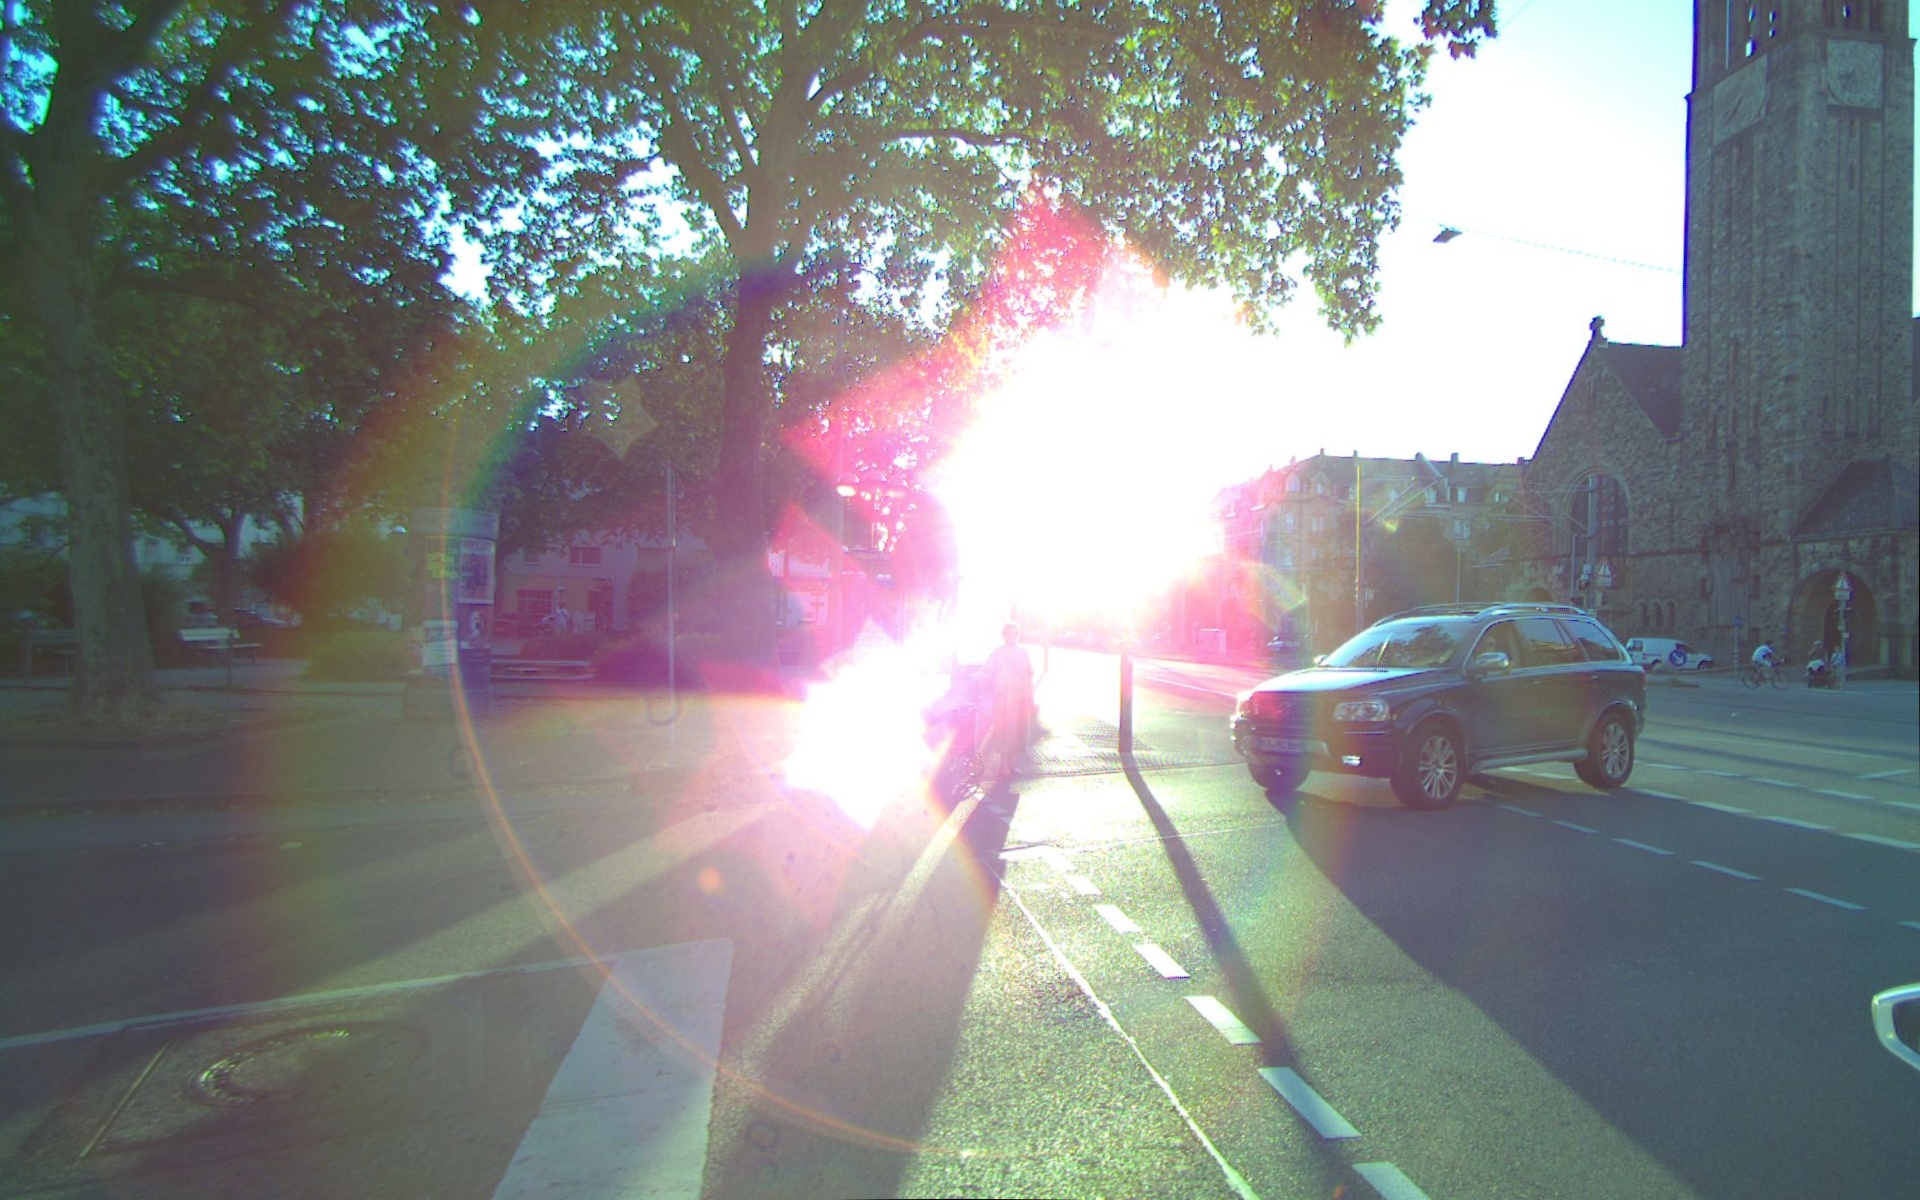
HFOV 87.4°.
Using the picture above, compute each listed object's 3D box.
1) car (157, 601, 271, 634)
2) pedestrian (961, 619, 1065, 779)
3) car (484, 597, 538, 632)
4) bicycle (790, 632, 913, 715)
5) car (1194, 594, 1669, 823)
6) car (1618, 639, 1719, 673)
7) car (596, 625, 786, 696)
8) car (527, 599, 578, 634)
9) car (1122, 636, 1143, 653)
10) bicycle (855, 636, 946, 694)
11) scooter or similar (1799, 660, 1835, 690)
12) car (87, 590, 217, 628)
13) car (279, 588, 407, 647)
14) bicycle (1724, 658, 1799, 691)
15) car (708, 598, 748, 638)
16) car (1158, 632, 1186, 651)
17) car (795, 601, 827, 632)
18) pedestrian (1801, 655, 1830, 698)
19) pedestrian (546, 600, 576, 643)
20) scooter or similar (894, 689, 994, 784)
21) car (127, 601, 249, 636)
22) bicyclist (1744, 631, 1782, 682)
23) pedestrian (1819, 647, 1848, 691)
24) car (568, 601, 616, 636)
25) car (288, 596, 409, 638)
[{"bbox_3d":[-40.611,0.996,54.851,4.571,1.758,1.991,1,-2,-21],"label":"car"},{"bbox_3d":[0.577,1.061,11.035,0.766,1.649,0.797,3,-1,-34],"label":"pedestrian"},{"bbox_3d":[-28.293,0.929,63.452,1.963,2.040,3.995,3,-1,-7],"label":"car"},{"bbox_3d":[-1.843,1.258,17.180,1.967,1.344,0.524,3,-1,-25],"label":"bicycle"},{"bbox_3d":[4.778,0.927,9.990,4.742,1.808,1.984,2,-1,-31],"label":"car"},{"bbox_3d":[38.281,3.014,54.298,4.371,1.537,1.718,3,-1,-5],"label":"car"},{"bbox_3d":[-7.037,1.569,26.699,4.552,1.805,1.999,0,-2,-4],"label":"car"},{"bbox_3d":[-25.841,1.050,63.825,1.963,2.040,3.995,3,-1,-7],"label":"car"},{"bbox_3d":[23.366,5.987,136.148,1.961,2.040,3.999,3,-1,-2],"label":"car"},{"bbox_3d":[-1.187,1.322,20.198,1.779,1.107,0.455,3,-1,-32],"label":"bicycle"},{"bbox_3d":[34.576,3.033,40.530,1.061,1.118,0.633,3,-1,-18],"label":"scooter or similar"},{"bbox_3d":[-39.883,0.479,49.715,4.577,1.834,1.992,1,-2,-19],"label":"car"},{"bbox_3d":[-20.149,0.621,33.056,1.963,1.805,4.495,0,-2,-8],"label":"car"},{"bbox_3d":[29.633,2.738,37.143,2.200,1.092,0.658,2,0,0],"label":"bicycle"},{"bbox_3d":[-14.903,1.133,64.699,1.963,2.374,3.996,3,-1,-7],"label":"car"},{"bbox_3d":[25.400,4.925,120.392,1.964,2.040,3.993,3,-1,-9],"label":"car"},{"bbox_3d":[-9.657,1.087,65.384,1.882,1.873,3.996,3,-1,-7],"label":"car"},{"bbox_3d":[35.332,3.157,41.478,0.593,1.721,0.633,3,-1,-17],"label":"pedestrian"},{"bbox_3d":[-16.163,0.882,40.696,0.869,1.694,0.740,3,-1,-7],"label":"pedestrian"},{"bbox_3d":[-0.169,1.425,10.659,0.843,0.909,0.587,3,-1,-34],"label":"scooter or similar"},{"bbox_3d":[-39.992,0.977,52.190,4.571,1.758,1.991,1,-2,-21],"label":"car"},{"bbox_3d":[29.709,2.075,37.152,0.842,1.851,0.659,1,0,2],"label":"bicyclist"},{"bbox_3d":[35.538,2.803,40.857,0.593,1.721,0.633,3,-1,-18],"label":"pedestrian"},{"bbox_3d":[-23.523,1.167,64.327,1.963,2.040,3.995,3,-1,-7],"label":"car"},{"bbox_3d":[-29.595,0.835,48.784,4.556,1.964,1.997,0,-2,-9],"label":"car"}]
